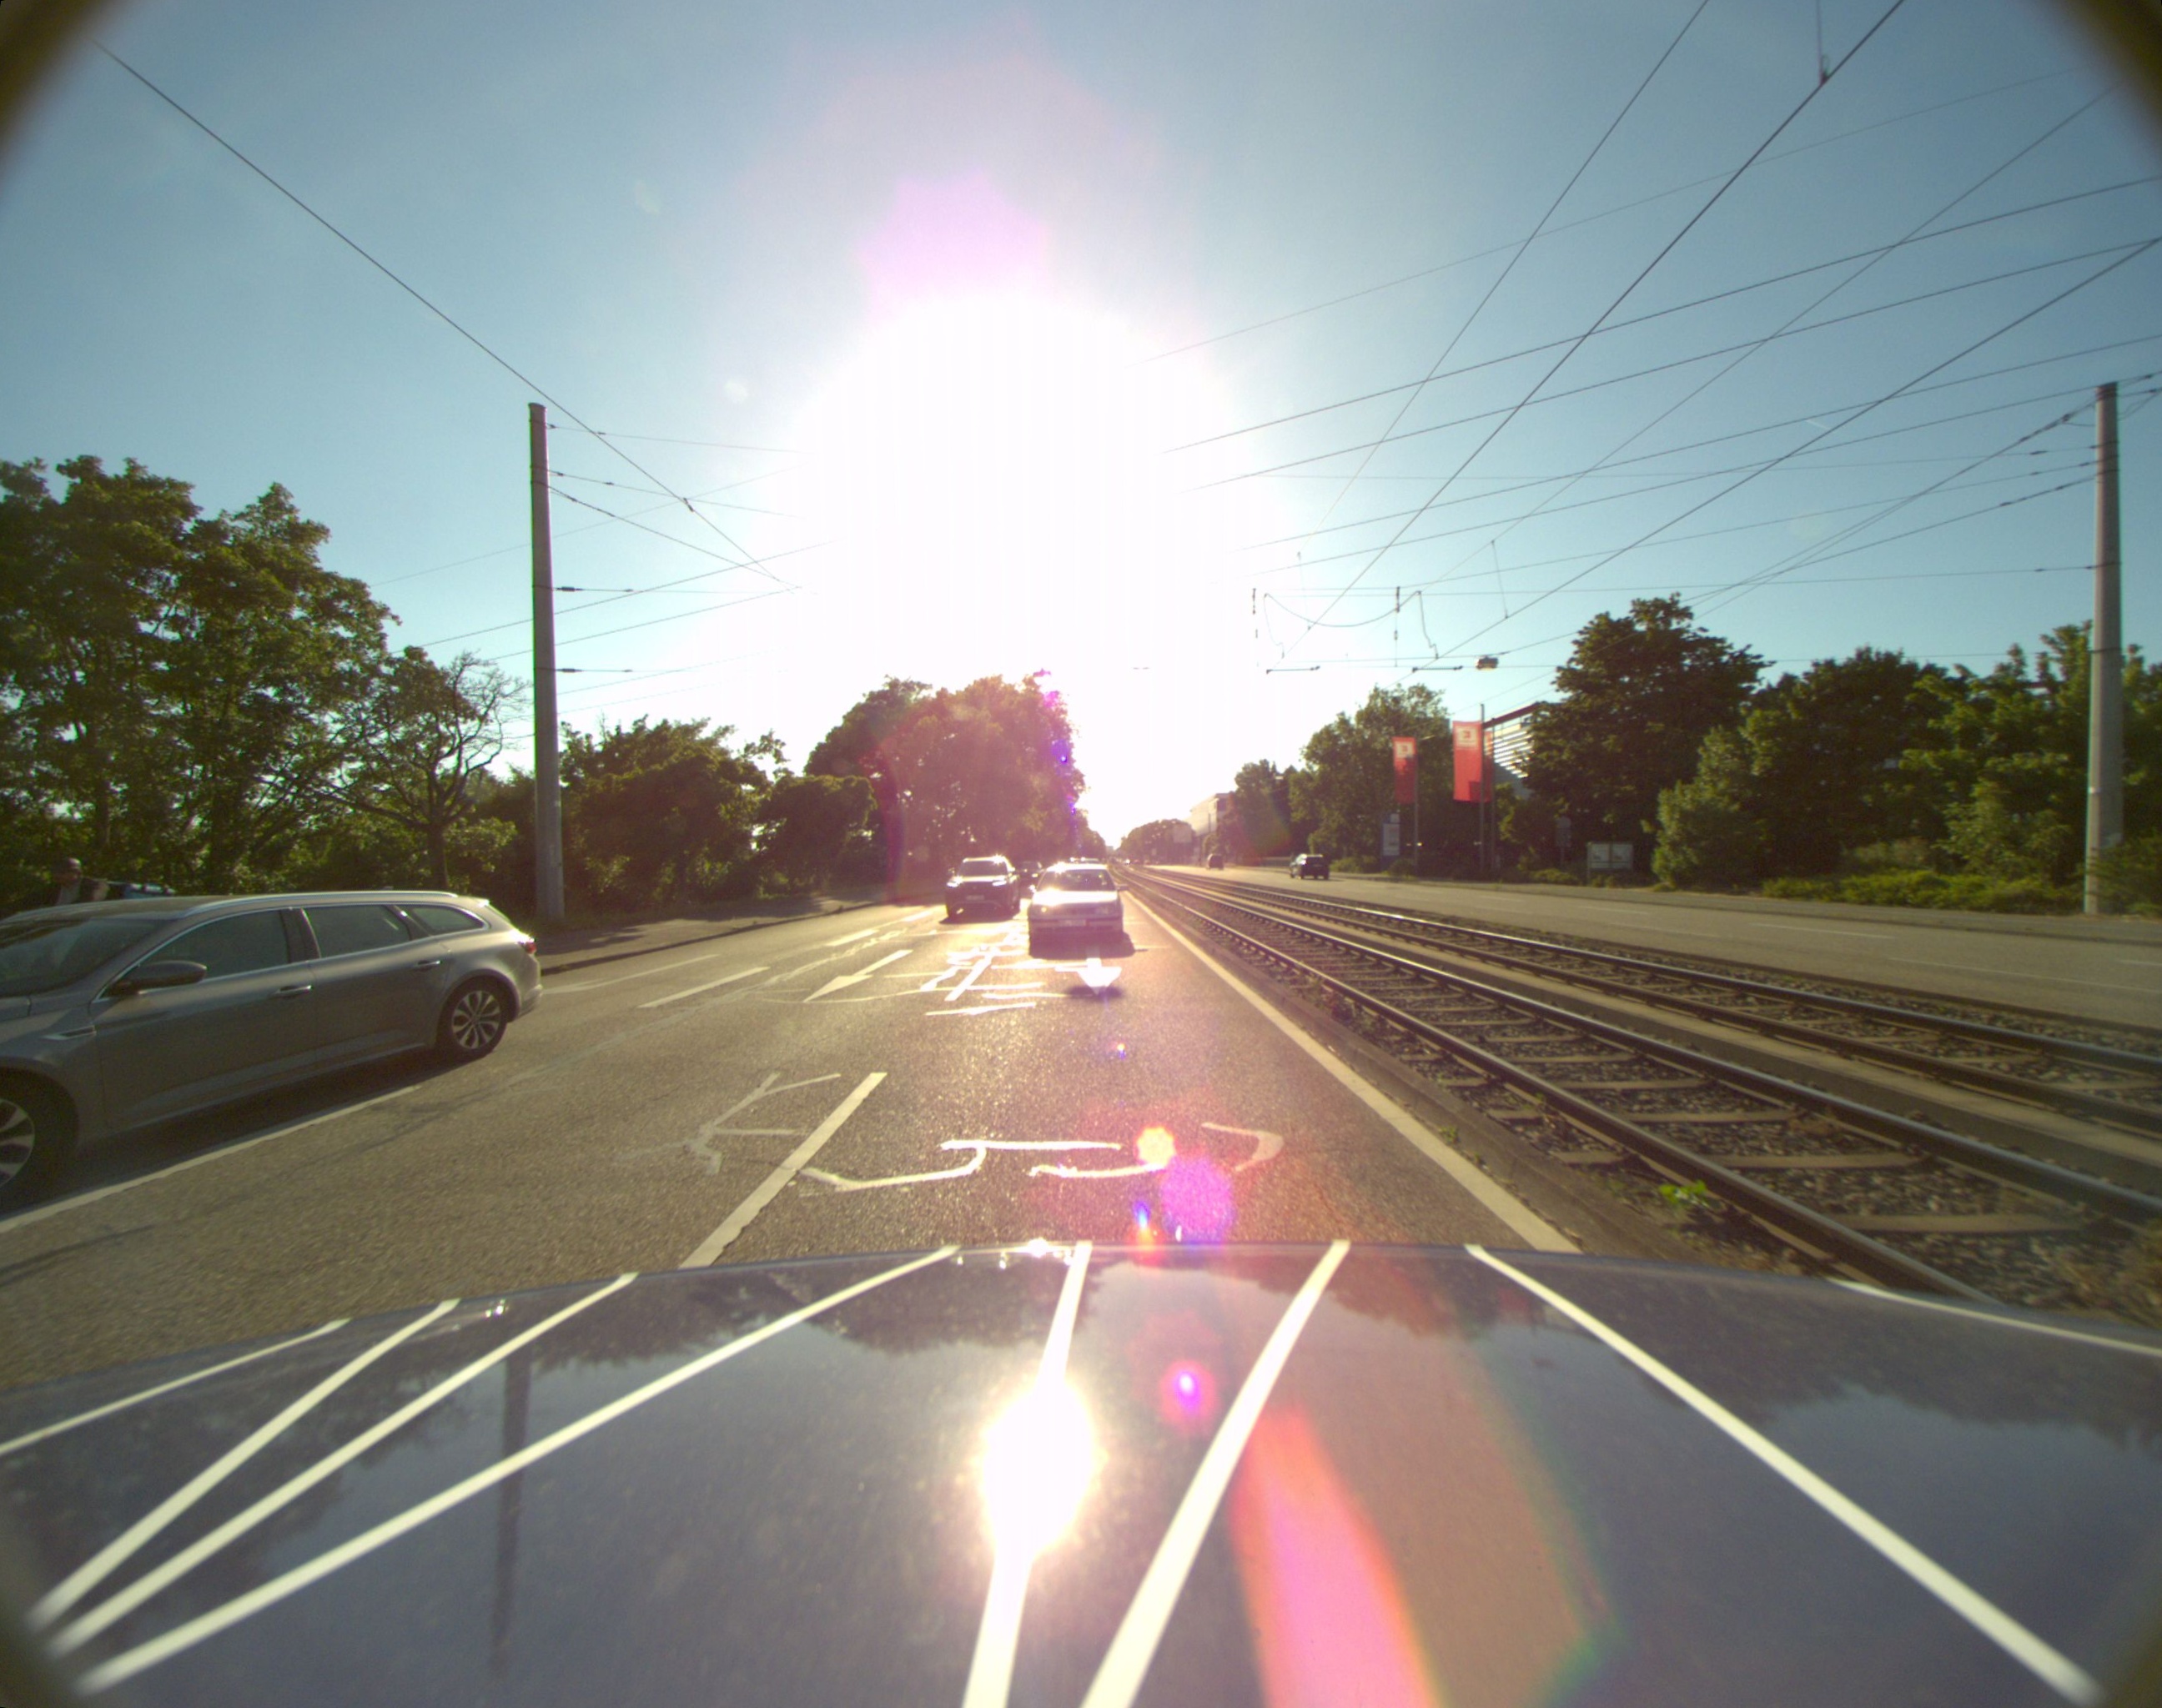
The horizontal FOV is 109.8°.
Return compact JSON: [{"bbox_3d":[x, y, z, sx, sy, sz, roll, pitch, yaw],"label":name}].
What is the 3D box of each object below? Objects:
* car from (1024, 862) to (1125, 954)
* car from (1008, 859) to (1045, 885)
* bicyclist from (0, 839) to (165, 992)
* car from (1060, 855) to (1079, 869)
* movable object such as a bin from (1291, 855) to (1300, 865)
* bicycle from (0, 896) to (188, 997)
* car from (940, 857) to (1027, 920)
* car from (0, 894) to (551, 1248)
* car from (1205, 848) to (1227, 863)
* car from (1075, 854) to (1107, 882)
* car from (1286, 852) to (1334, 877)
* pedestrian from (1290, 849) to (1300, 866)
[{"bbox_3d":[-0.064,0.945,15.002,1.695,1.437,4.001,-2,1,1],"label":"car"},{"bbox_3d":[-3.334,1.069,47.026,1.874,1.405,4.001,-2,1,1],"label":"car"},{"bbox_3d":[-10.469,0.591,7.882,0.628,1.463,1.060,2,1,1],"label":"bicyclist"},{"bbox_3d":[-1.256,0.879,85.267,1.881,1.449,4.416,-2,1,2],"label":"car"},{"bbox_3d":[21.340,0.618,75.668,0.614,0.960,1.083,-3,1,1],"label":"movable object such as a bin"},{"bbox_3d":[-10.485,0.913,7.821,0.628,0.829,1.635,2,1,1],"label":"bicycle"},{"bbox_3d":[-2.807,0.938,22.875,1.881,1.591,4.416,-2,1,2],"label":"car"},{"bbox_3d":[-5.977,1.143,4.734,1.881,1.435,4.660,-2,1,3],"label":"car"},{"bbox_3d":[16.212,0.178,91.425,1.998,1.785,4.349,0,1,1],"label":"car"},{"bbox_3d":[0.686,0.850,47.866,1.881,1.591,4.416,-2,1,2],"label":"car"},{"bbox_3d":[15.514,0.671,51.741,1.998,1.616,4.683,0,1,2],"label":"car"},{"bbox_3d":[21.294,0.382,75.611,0.614,1.638,1.083,-3,1,1],"label":"pedestrian"}]
